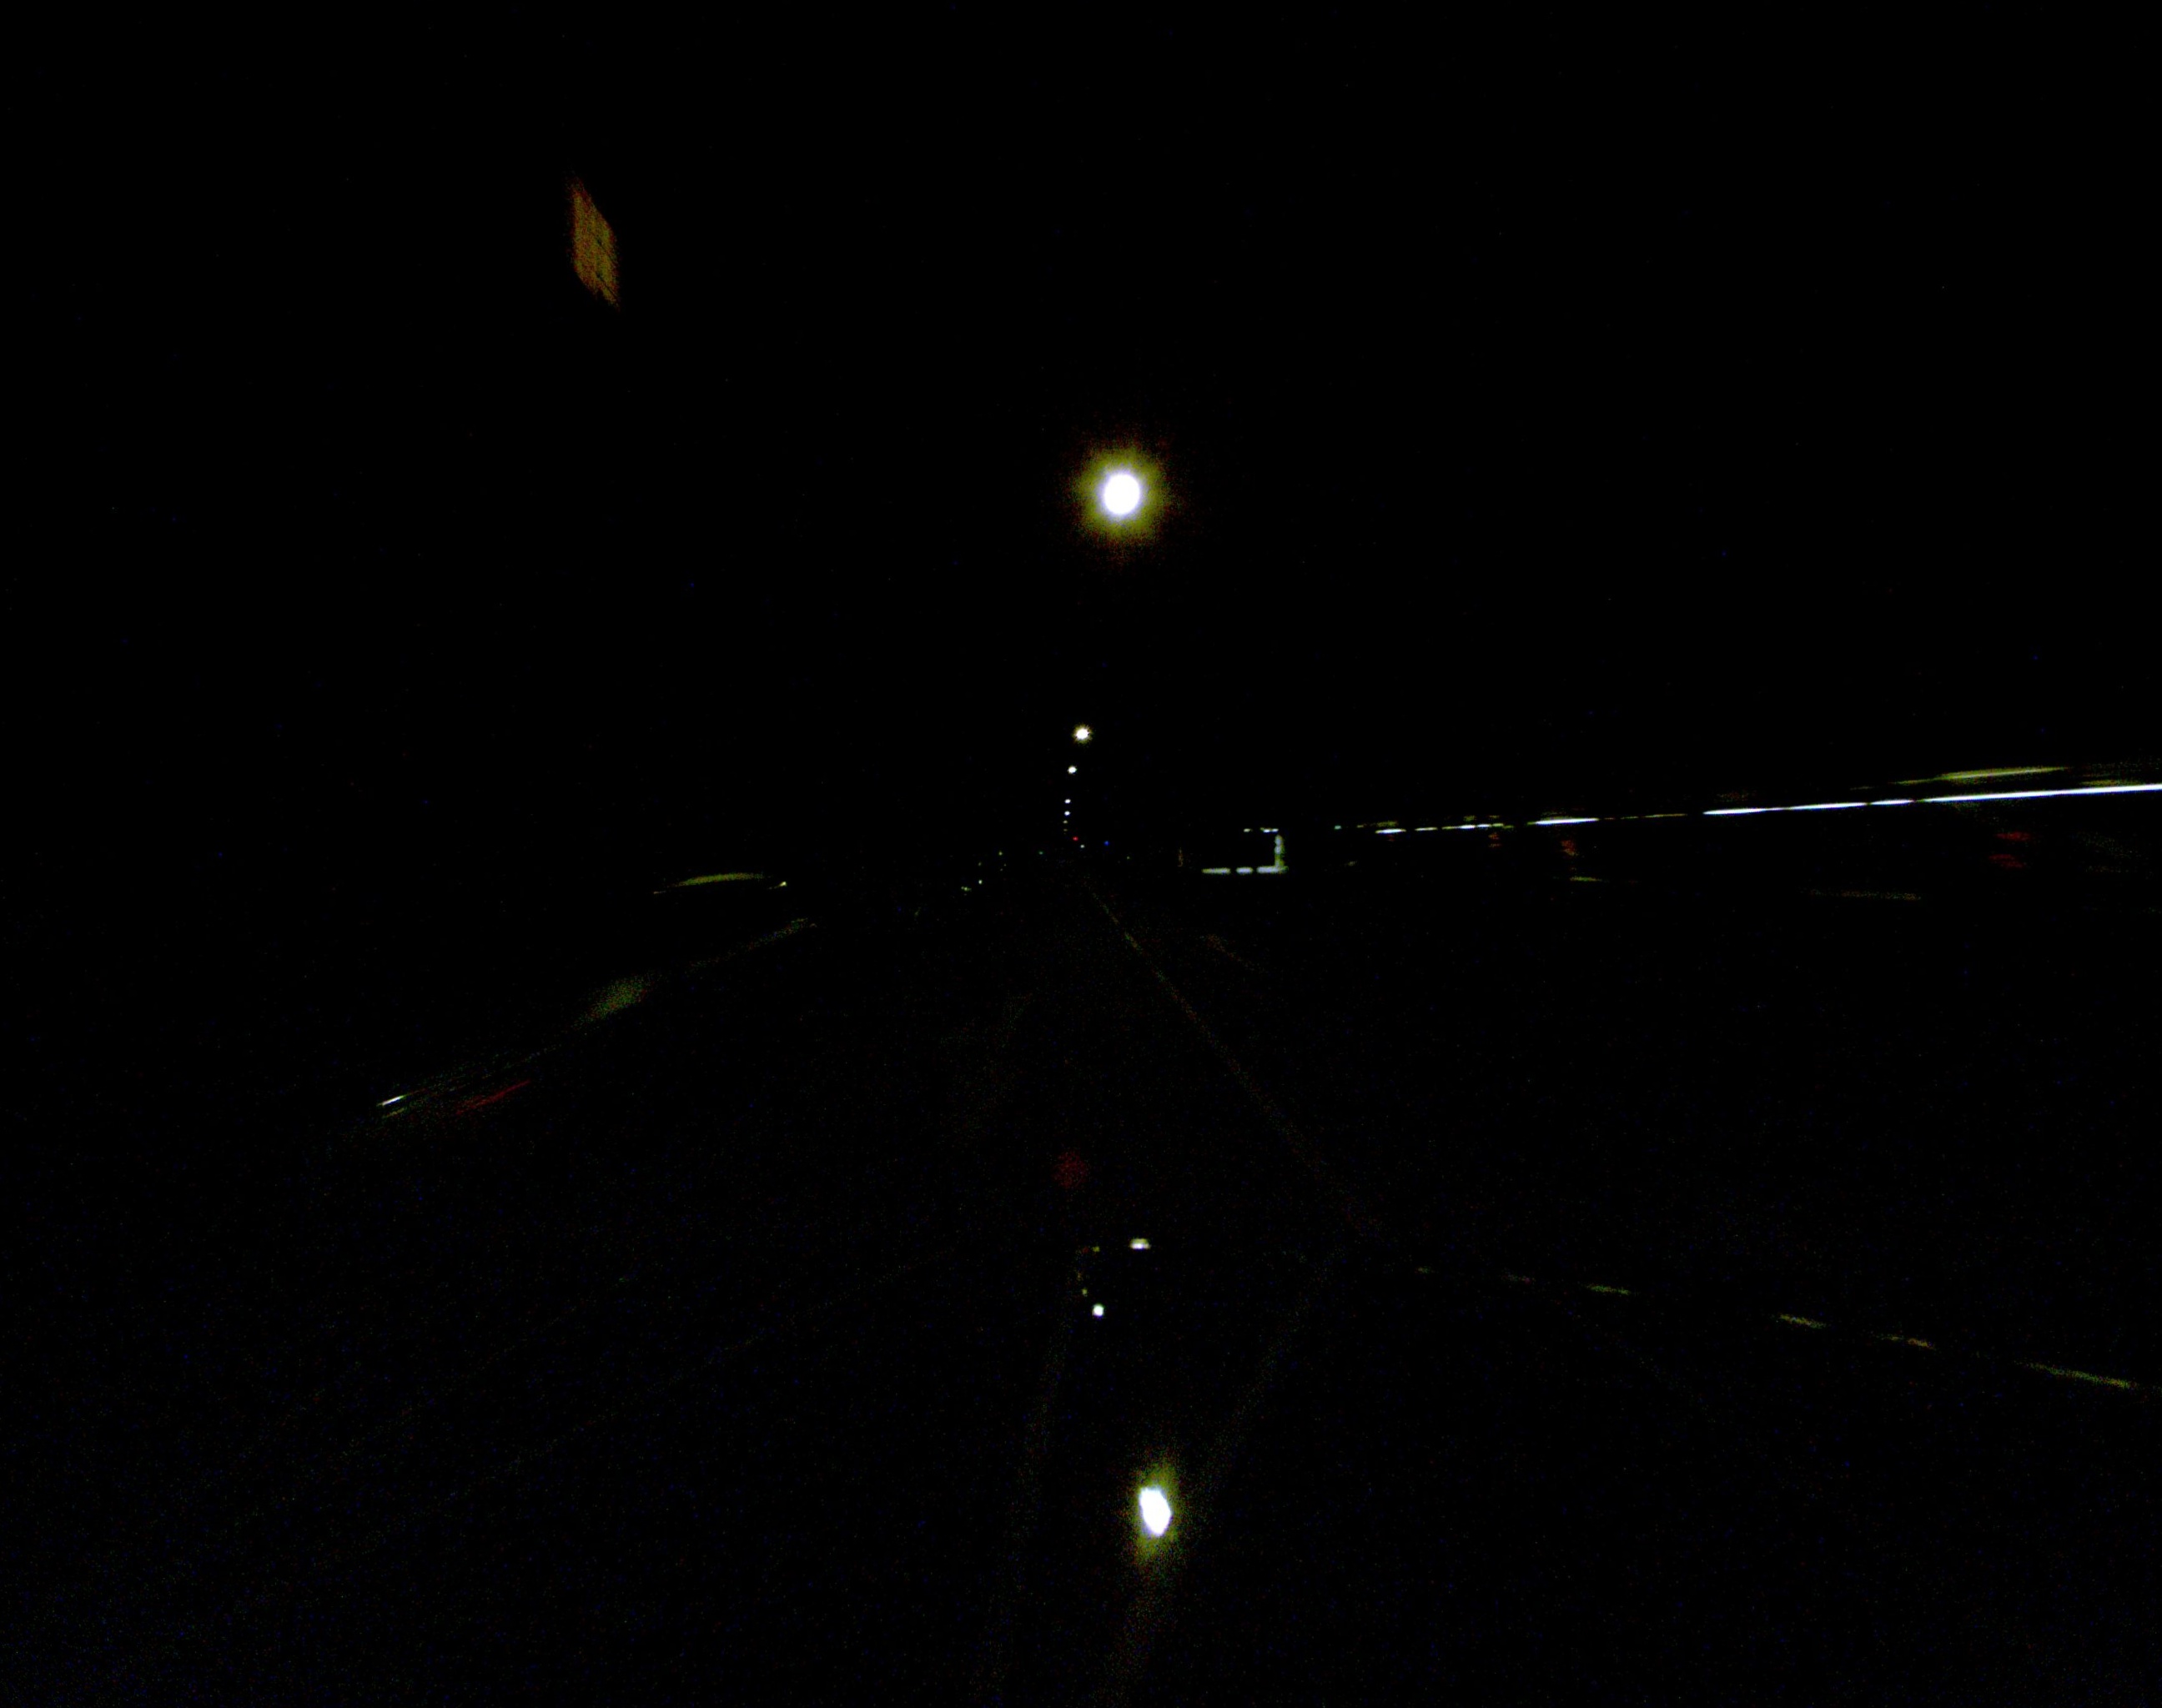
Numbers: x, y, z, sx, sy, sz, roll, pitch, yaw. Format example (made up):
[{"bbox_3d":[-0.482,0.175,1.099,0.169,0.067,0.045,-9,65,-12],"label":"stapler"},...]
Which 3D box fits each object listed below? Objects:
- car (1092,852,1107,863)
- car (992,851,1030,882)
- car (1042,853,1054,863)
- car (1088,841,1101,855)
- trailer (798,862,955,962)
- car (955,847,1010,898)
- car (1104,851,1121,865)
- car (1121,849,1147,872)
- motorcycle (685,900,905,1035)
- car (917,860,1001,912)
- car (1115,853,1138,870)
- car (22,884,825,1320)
[{"bbox_3d":[2.614,0.503,106.273,1.826,1.423,3.730,-2,0,-2],"label":"car"},{"bbox_3d":[-3.924,0.668,43.099,1.934,1.655,3.772,2,0,-3],"label":"car"},{"bbox_3d":[-4.963,0.568,114.970,1.826,1.423,3.730,-2,0,-2],"label":"car"},{"bbox_3d":[2.437,-1.052,136.525,2.005,2.493,4.953,-2,0,-2],"label":"car"},{"bbox_3d":[-3.488,0.926,13.648,1.604,1.486,3.734,0,0,3],"label":"trailer"},{"bbox_3d":[-3.680,0.656,29.063,1.781,1.762,4.420,2,0,-4],"label":"car"},{"bbox_3d":[3.767,0.457,91.620,1.826,1.637,3.731,2,0,1],"label":"car"},{"bbox_3d":[4.384,0.529,63.675,1.882,1.798,3.731,-2,0,1],"label":"car"},{"bbox_3d":[-3.006,1.140,8.283,0.727,1.124,2.232,0,0,33],"label":"motorcycle"},{"bbox_3d":[-3.564,0.894,22.923,1.780,1.351,4.422,2,0,0],"label":"car"},{"bbox_3d":[4.141,0.673,69.572,1.826,1.423,3.731,-2,0,1],"label":"car"},{"bbox_3d":[-3.080,0.991,4.710,1.590,1.452,3.797,0,0,2],"label":"car"}]
